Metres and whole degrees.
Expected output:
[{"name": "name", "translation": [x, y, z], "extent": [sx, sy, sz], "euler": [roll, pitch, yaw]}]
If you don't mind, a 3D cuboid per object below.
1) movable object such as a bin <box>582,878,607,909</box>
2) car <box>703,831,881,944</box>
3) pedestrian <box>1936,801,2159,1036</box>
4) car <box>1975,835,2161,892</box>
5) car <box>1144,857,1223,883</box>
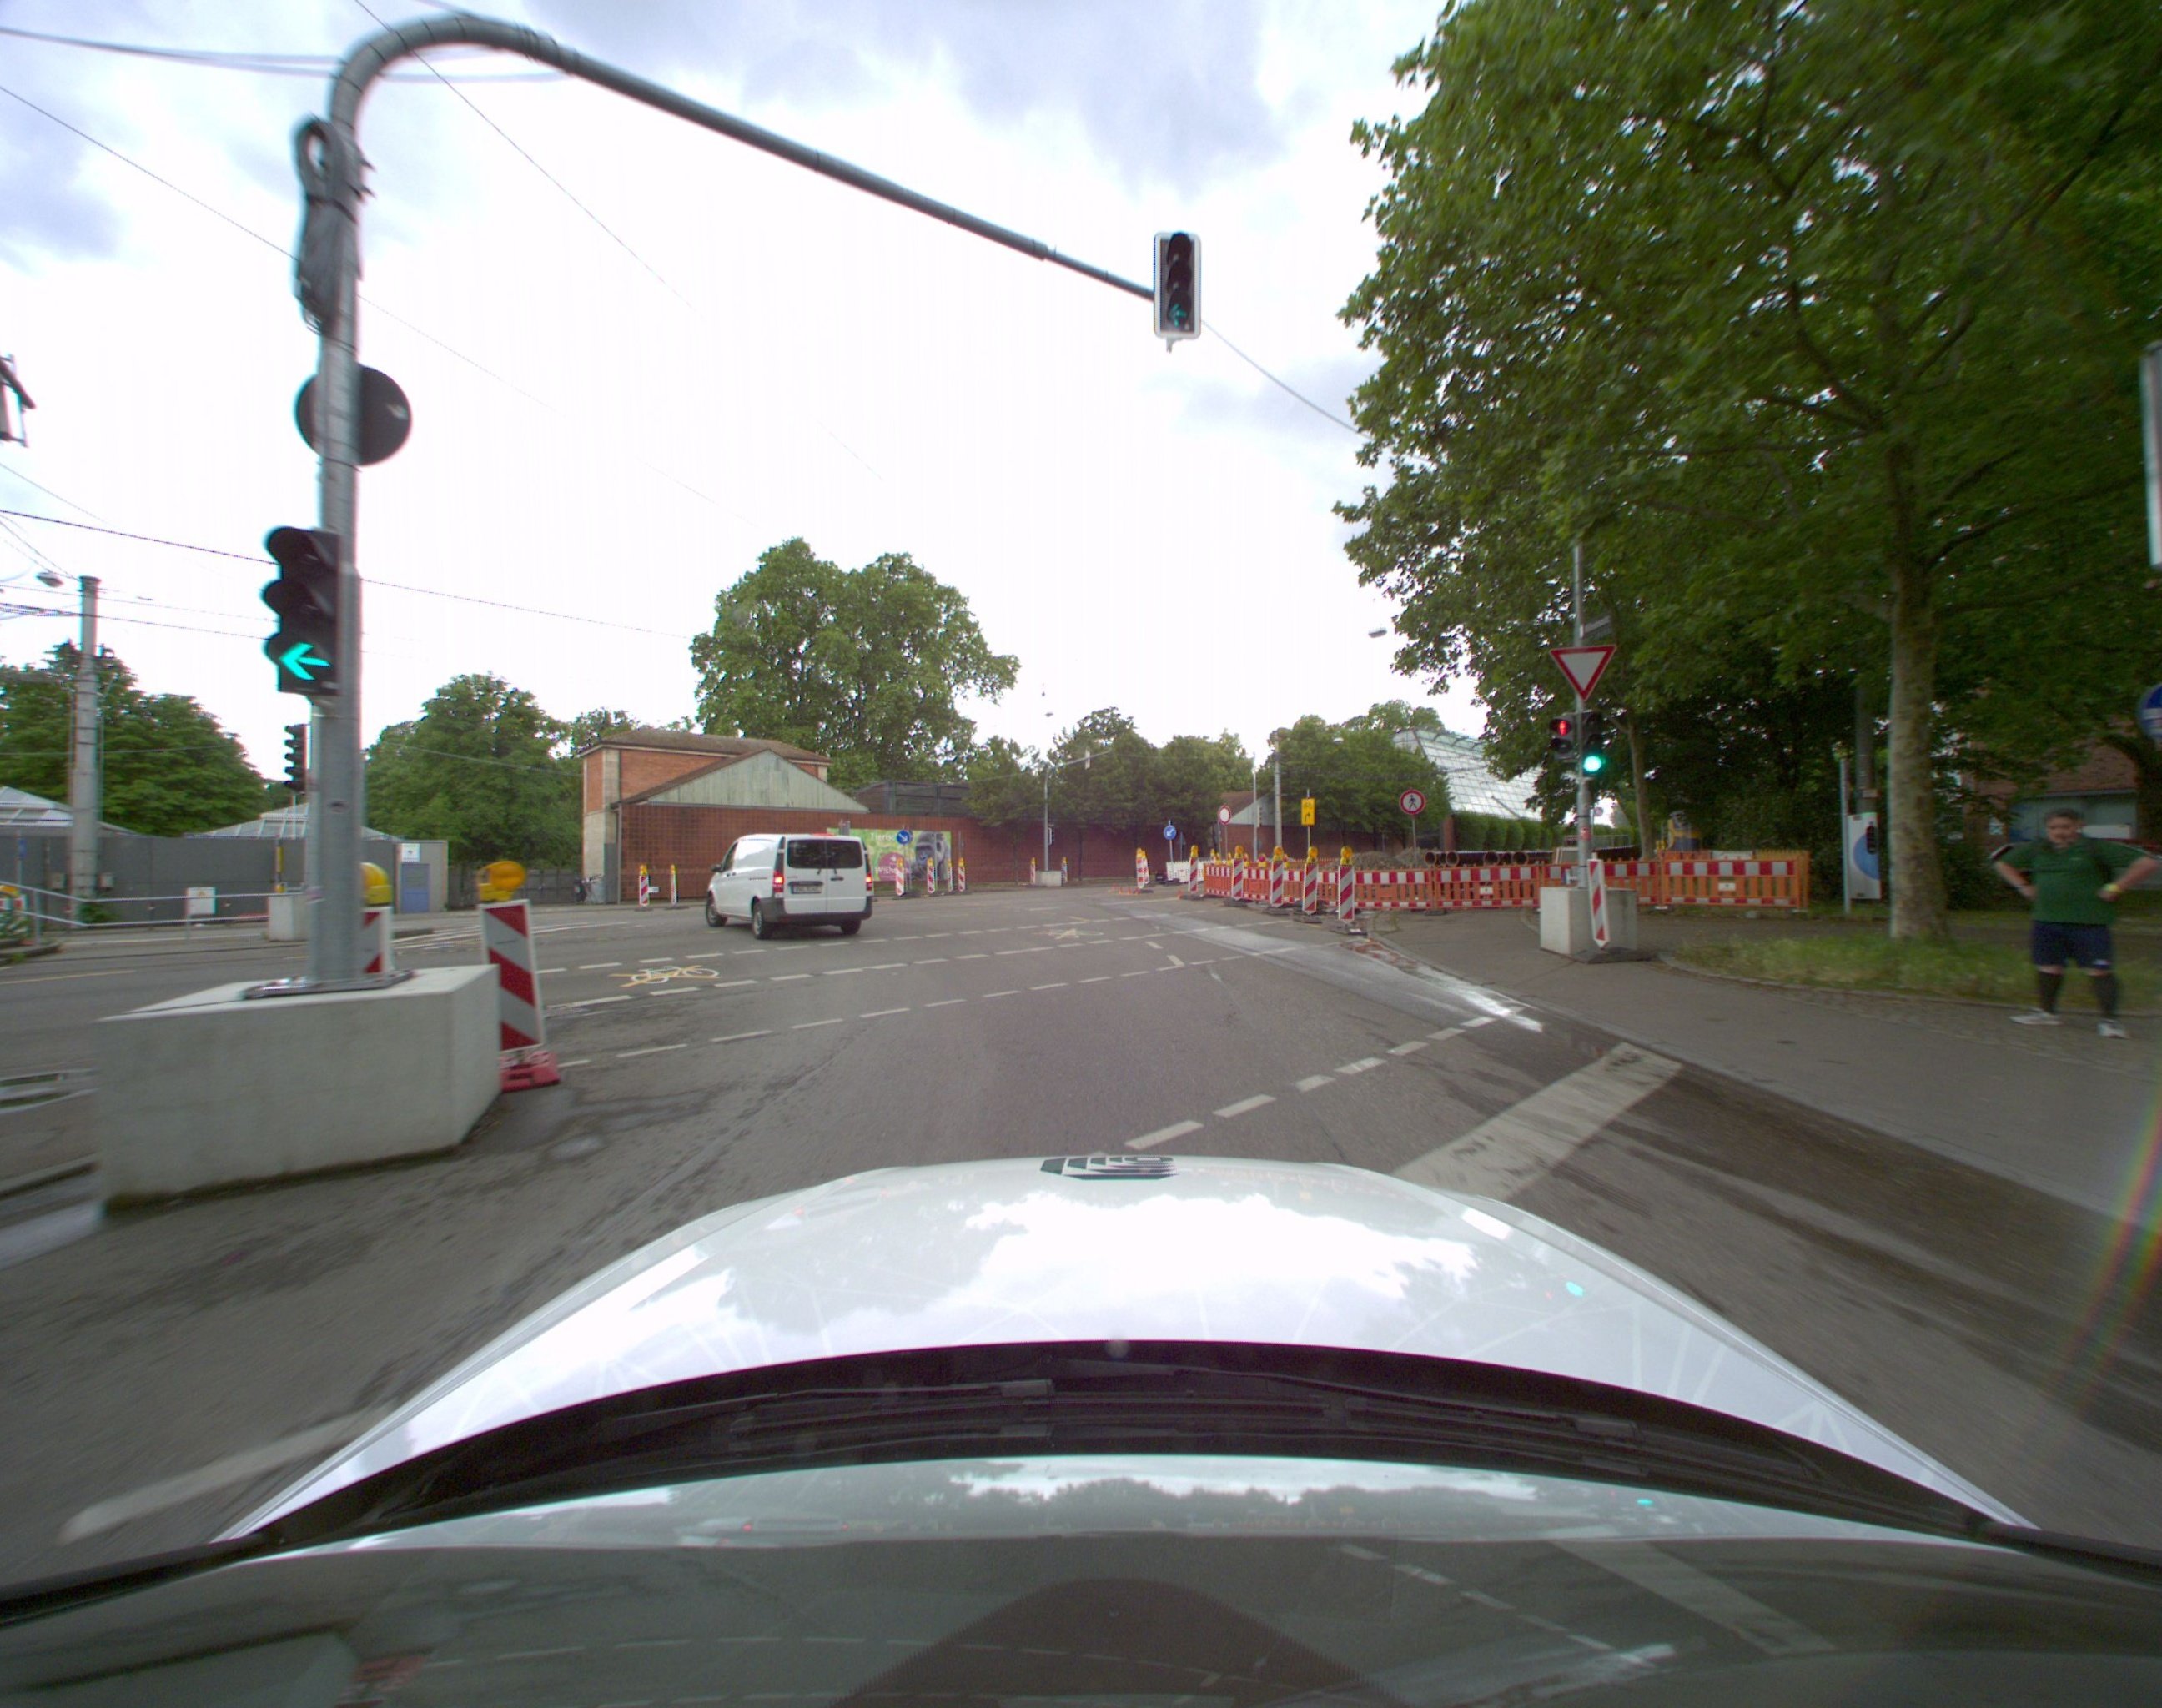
[{"name": "movable object such as a bin", "translation": [-21.838, 1.765, 36.563], "extent": [0.855, 1.340, 0.791], "euler": [-1, -2, -40]}, {"name": "car", "translation": [-5.850, 0.577, 16.111], "extent": [1.933, 1.901, 4.648], "euler": [0, 0, -38]}, {"name": "pedestrian", "translation": [7.562, 0.467, 6.412], "extent": [0.730, 1.697, 0.836], "euler": [-2, 0, -6]}, {"name": "car", "translation": [25.438, 0.242, 20.068], "extent": [4.451, 1.325, 1.730], "euler": [-3, -2, 45]}, {"name": "car", "translation": [6.034, 0.938, 47.838], "extent": [4.477, 1.443, 1.860], "euler": [0, -3, -35]}]
